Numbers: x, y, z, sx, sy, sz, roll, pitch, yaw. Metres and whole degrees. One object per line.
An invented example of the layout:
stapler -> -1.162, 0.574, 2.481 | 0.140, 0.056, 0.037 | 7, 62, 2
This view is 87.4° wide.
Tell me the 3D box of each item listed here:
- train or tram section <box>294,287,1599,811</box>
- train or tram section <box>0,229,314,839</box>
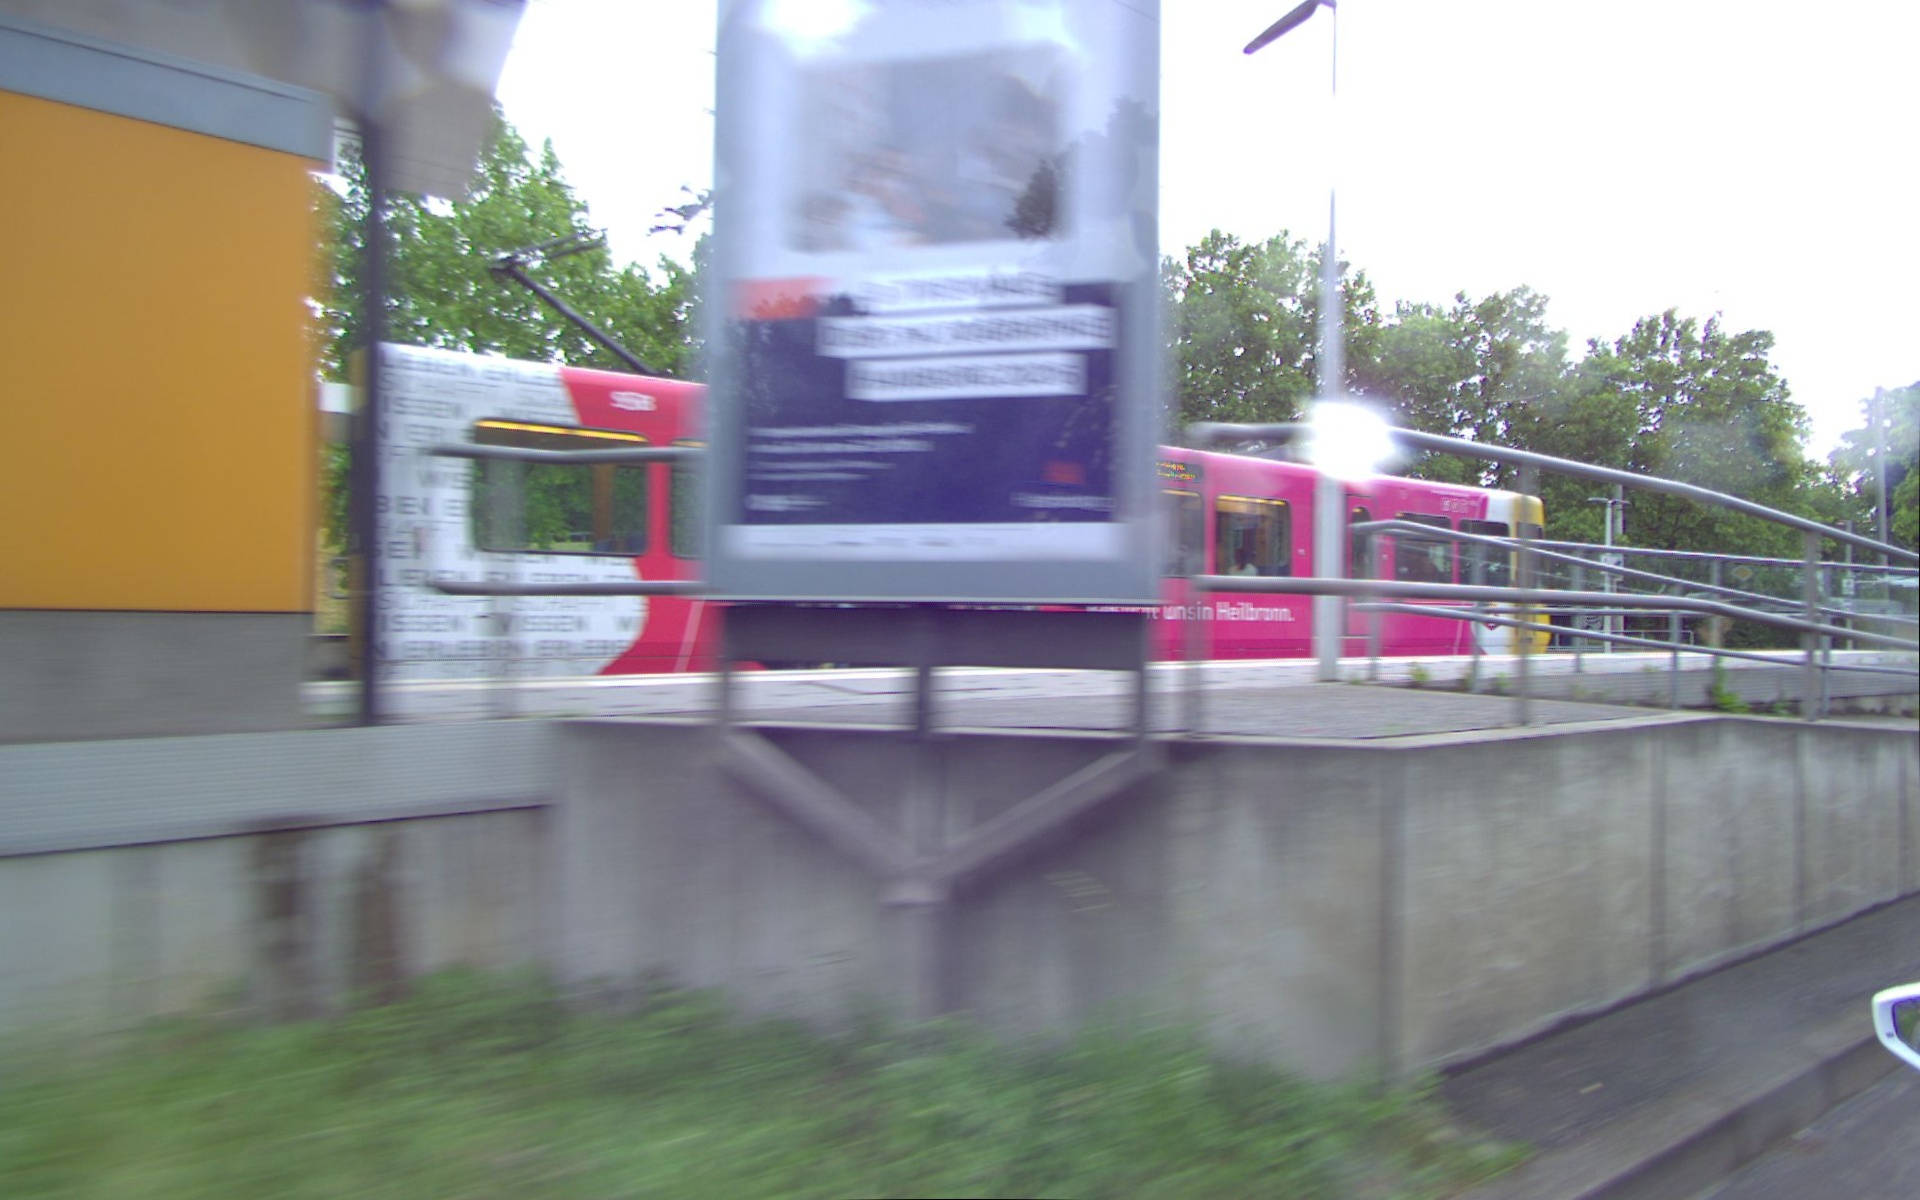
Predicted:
train or tram section -> 2.354, -0.082, 13.959 | 19.115, 4.013, 2.852 | 2, 1, -32
train or tram section -> -13.625, -0.749, 3.389 | 19.132, 4.023, 2.850 | 2, 1, -34
